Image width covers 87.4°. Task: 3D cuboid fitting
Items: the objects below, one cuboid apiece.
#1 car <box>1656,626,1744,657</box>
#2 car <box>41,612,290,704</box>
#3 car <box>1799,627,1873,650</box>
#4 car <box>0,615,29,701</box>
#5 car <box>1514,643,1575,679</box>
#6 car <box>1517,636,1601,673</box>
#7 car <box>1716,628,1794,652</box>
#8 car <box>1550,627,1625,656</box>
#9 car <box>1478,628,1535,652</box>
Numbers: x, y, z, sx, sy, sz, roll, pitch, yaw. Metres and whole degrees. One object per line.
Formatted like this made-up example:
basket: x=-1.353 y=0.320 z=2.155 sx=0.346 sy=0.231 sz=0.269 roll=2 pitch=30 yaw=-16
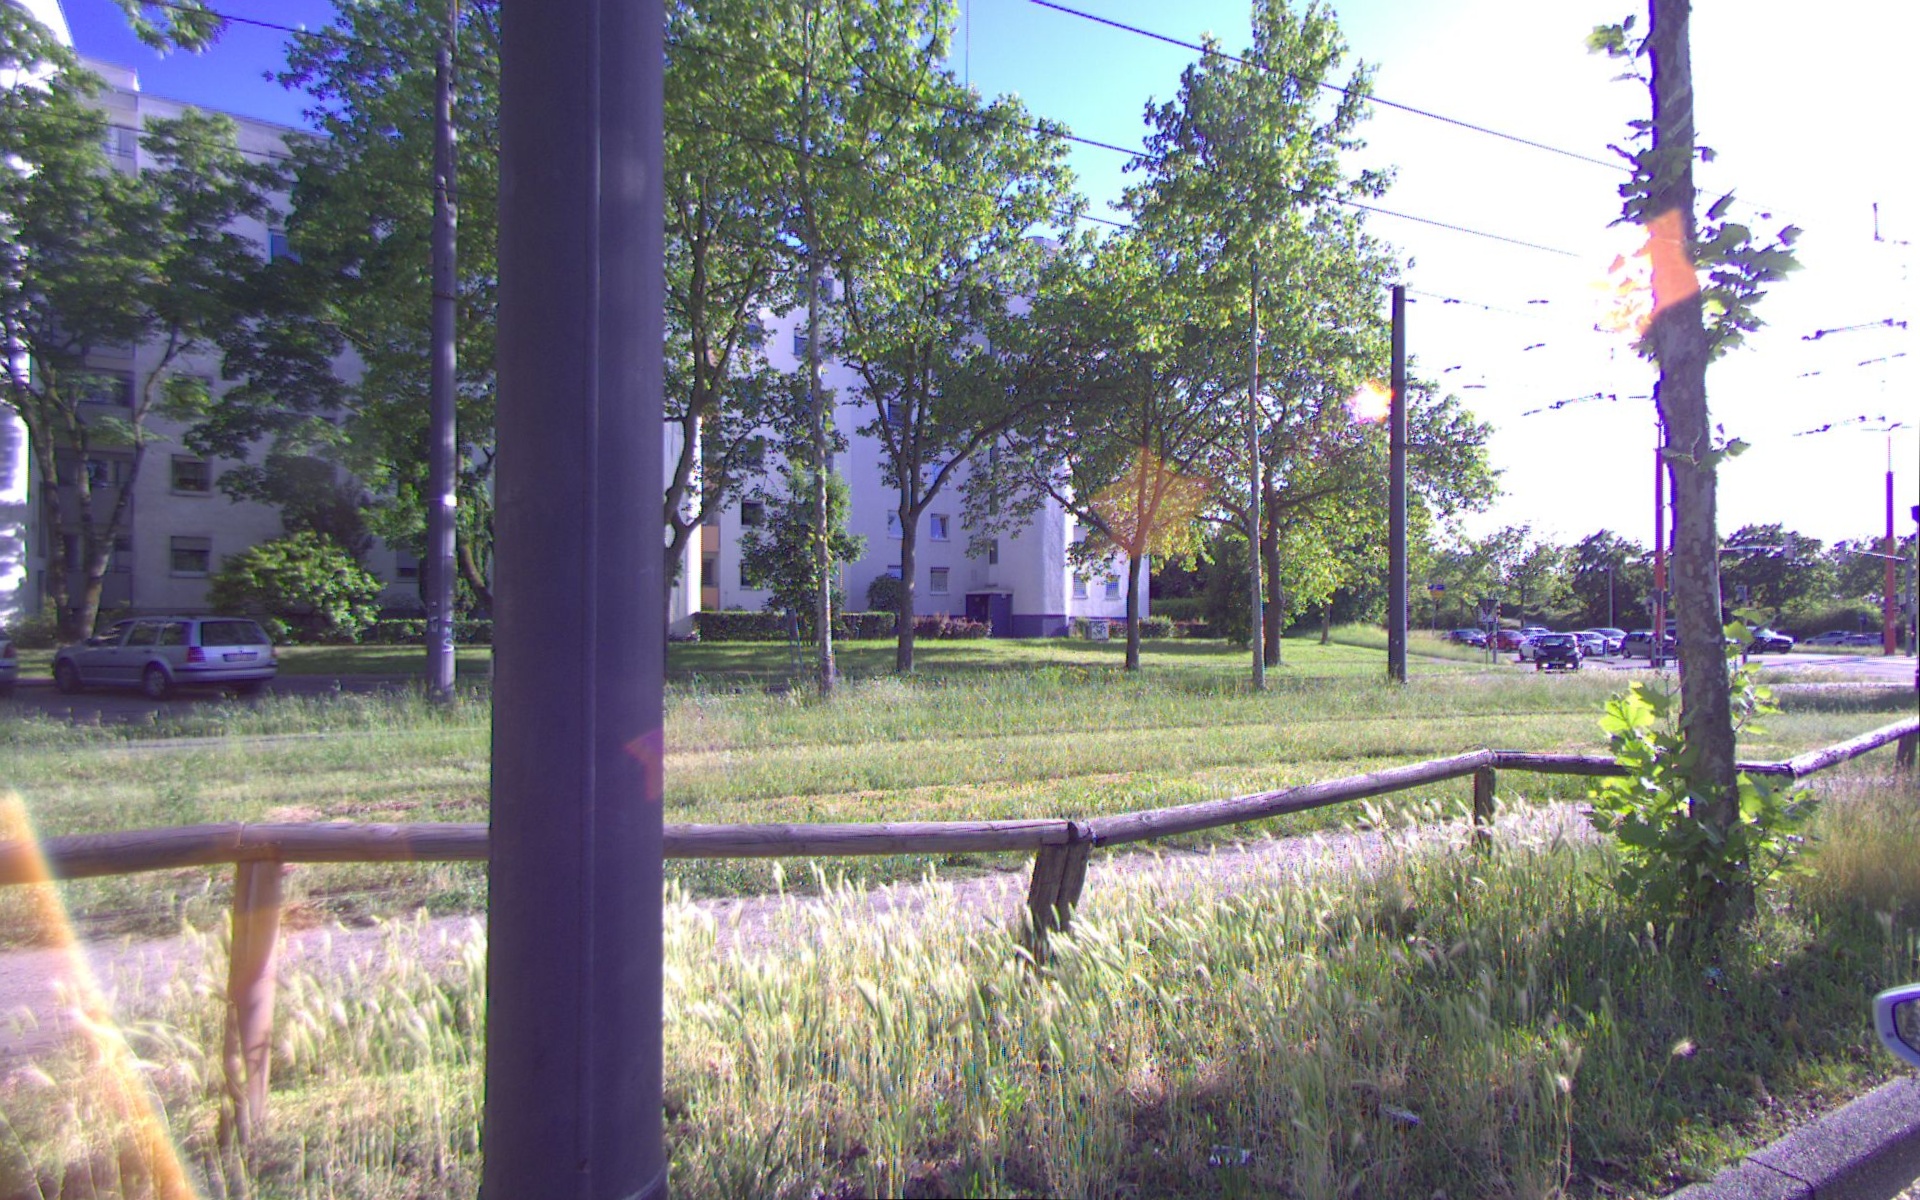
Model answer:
car: x=42.505 y=2.341 z=57.820 sx=1.962 sy=1.666 sz=3.997 roll=1 pitch=-1 yaw=-5
car: x=-14.595 y=1.001 z=18.491 sx=3.898 sy=1.462 sz=1.710 roll=1 pitch=0 yaw=18
car: x=63.424 y=2.754 z=72.805 sx=1.655 sy=1.460 sz=3.973 roll=2 pitch=0 yaw=-5
car: x=-17.994 y=0.962 z=17.128 sx=3.547 sy=1.439 sz=1.576 roll=1 pitch=0 yaw=18
car: x=31.960 y=3.277 z=55.081 sx=1.960 sy=1.754 sz=4.846 roll=1 pitch=-1 yaw=19
car: x=24.188 y=2.184 z=40.561 sx=2.816 sy=1.409 sz=1.790 roll=1 pitch=-1 yaw=-30
car: x=48.782 y=2.425 z=61.737 sx=1.664 sy=1.347 sz=4.001 roll=1 pitch=-1 yaw=2
car: x=38.962 y=2.560 z=62.464 sx=1.833 sy=1.633 sz=4.185 roll=1 pitch=-1 yaw=-4
car: x=38.441 y=2.785 z=70.738 sx=1.699 sy=1.533 sz=3.998 roll=1 pitch=-1 yaw=-4
